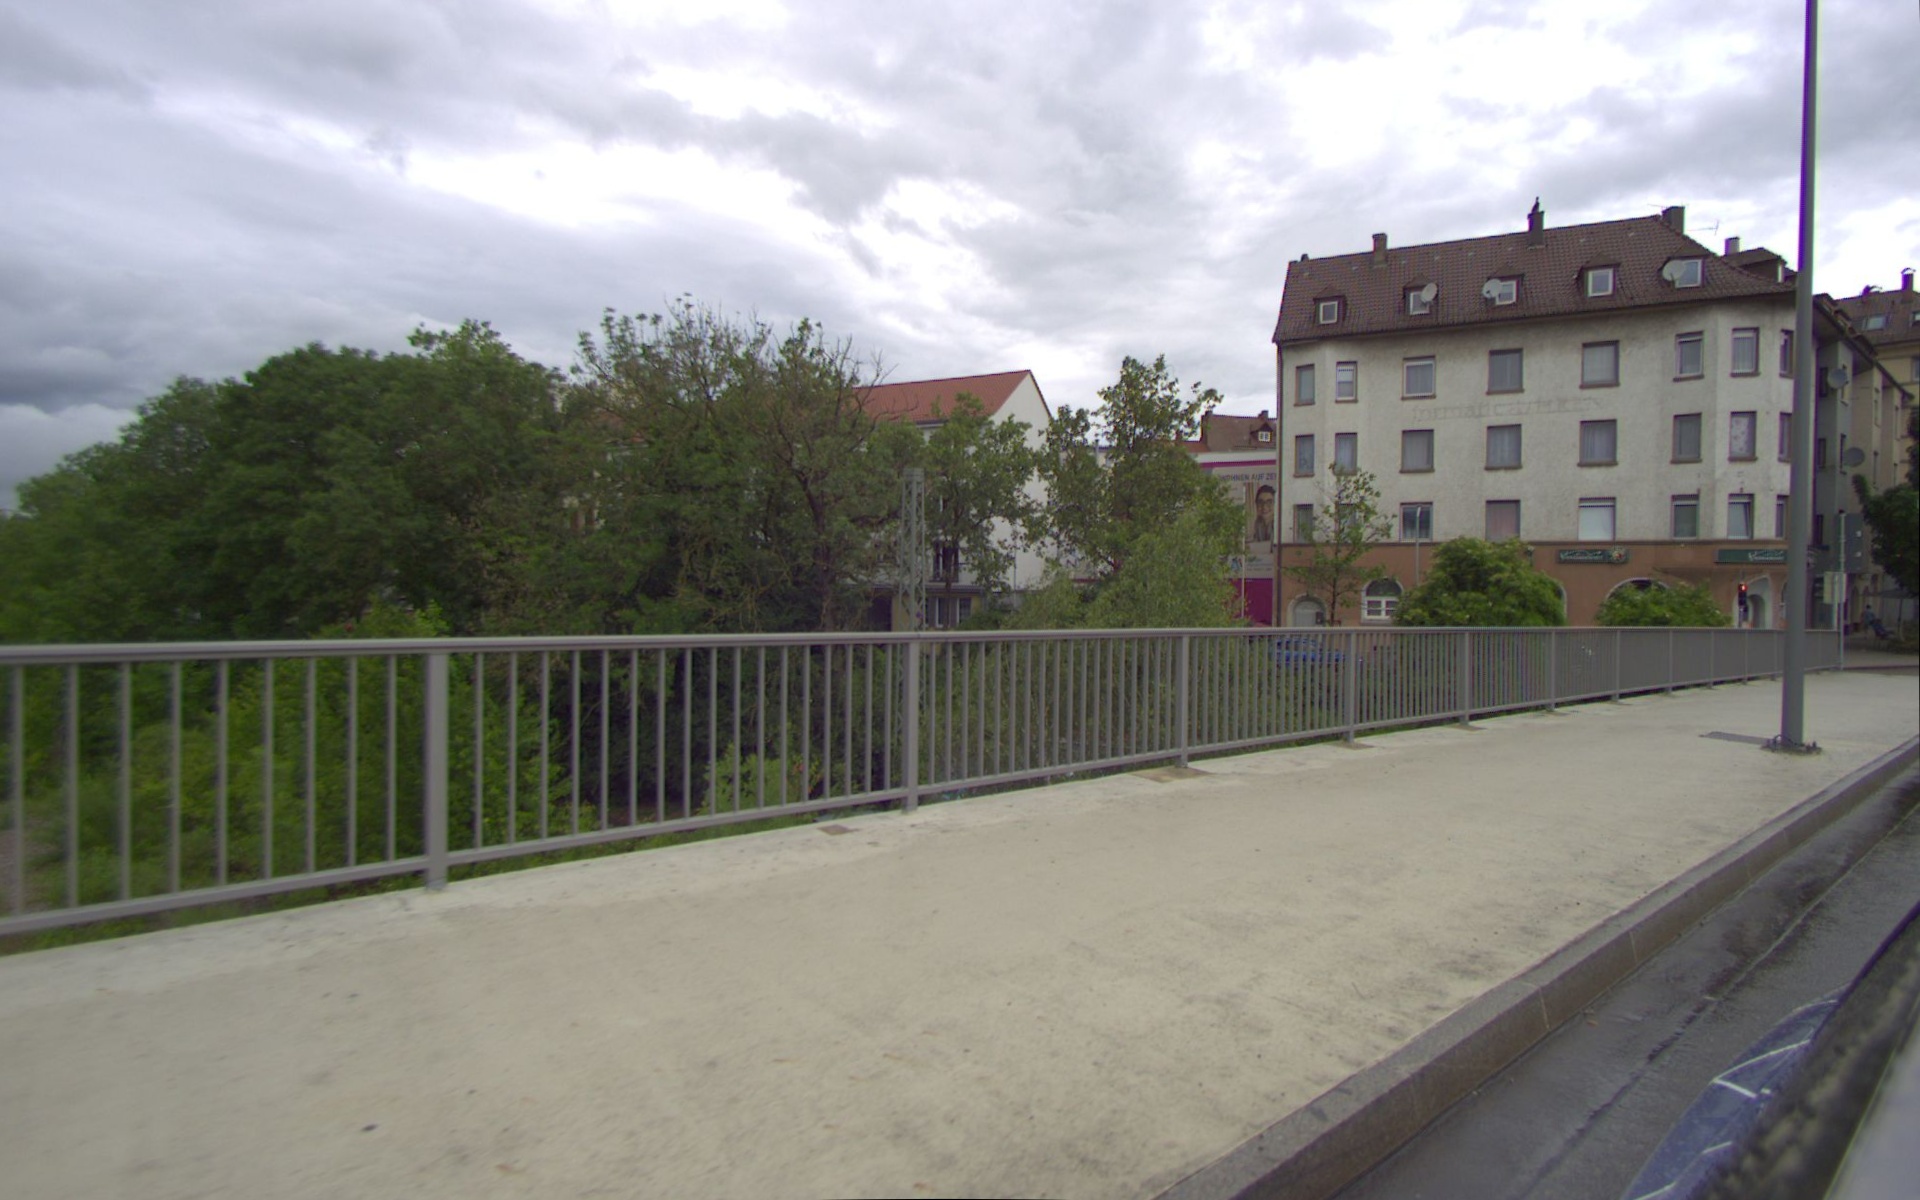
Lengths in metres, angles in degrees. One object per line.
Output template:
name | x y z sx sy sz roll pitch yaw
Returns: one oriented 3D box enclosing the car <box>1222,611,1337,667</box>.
car | 12.559 1.467 39.843 3.971 2.039 1.976 0 0 34
